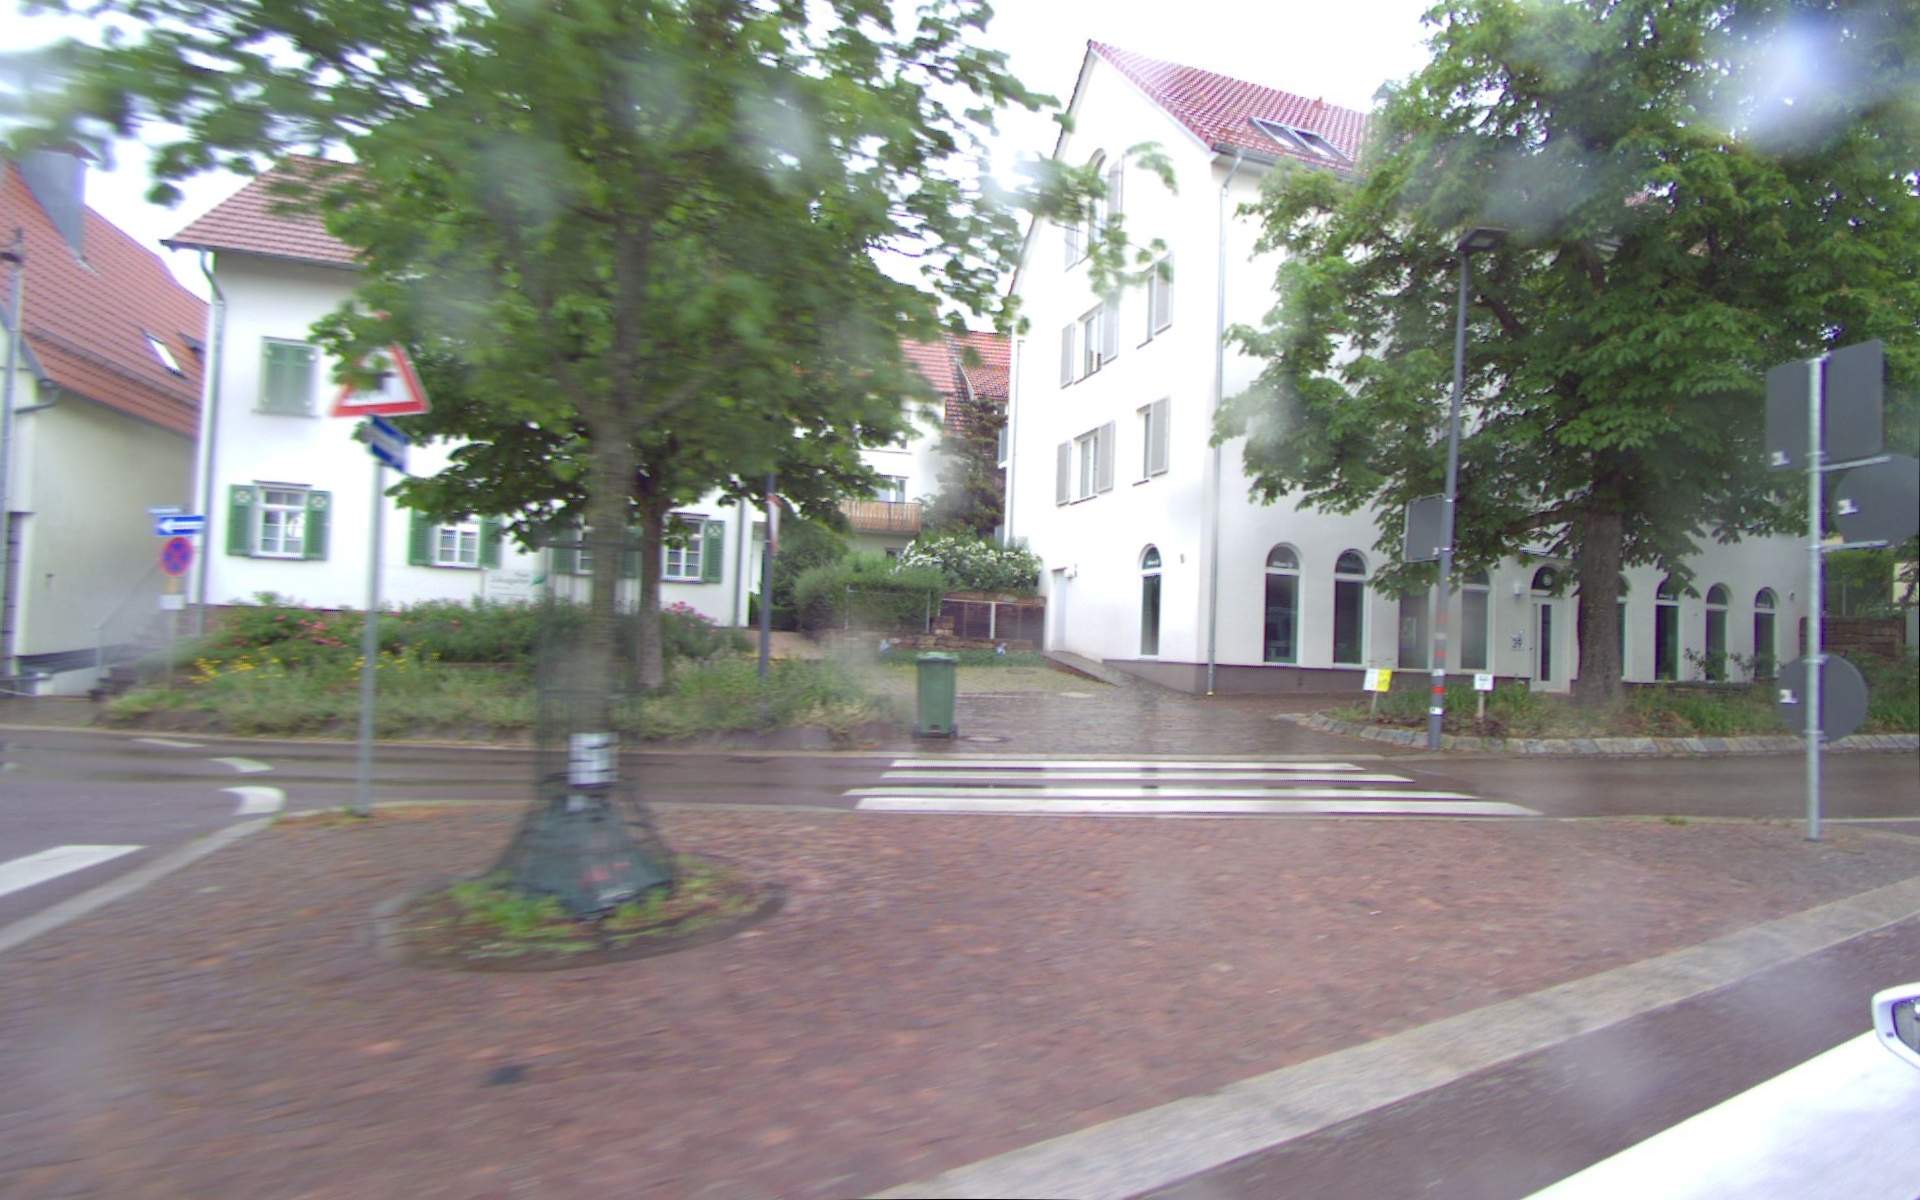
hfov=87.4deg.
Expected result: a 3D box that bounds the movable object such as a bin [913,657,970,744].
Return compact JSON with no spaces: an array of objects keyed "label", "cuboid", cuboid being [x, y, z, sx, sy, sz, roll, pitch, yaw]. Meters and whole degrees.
[{"label":"movable object such as a bin","cuboid":[-0.244,1.266,12.820,0.684,1.072,0.636,1,-3,-4]}]
